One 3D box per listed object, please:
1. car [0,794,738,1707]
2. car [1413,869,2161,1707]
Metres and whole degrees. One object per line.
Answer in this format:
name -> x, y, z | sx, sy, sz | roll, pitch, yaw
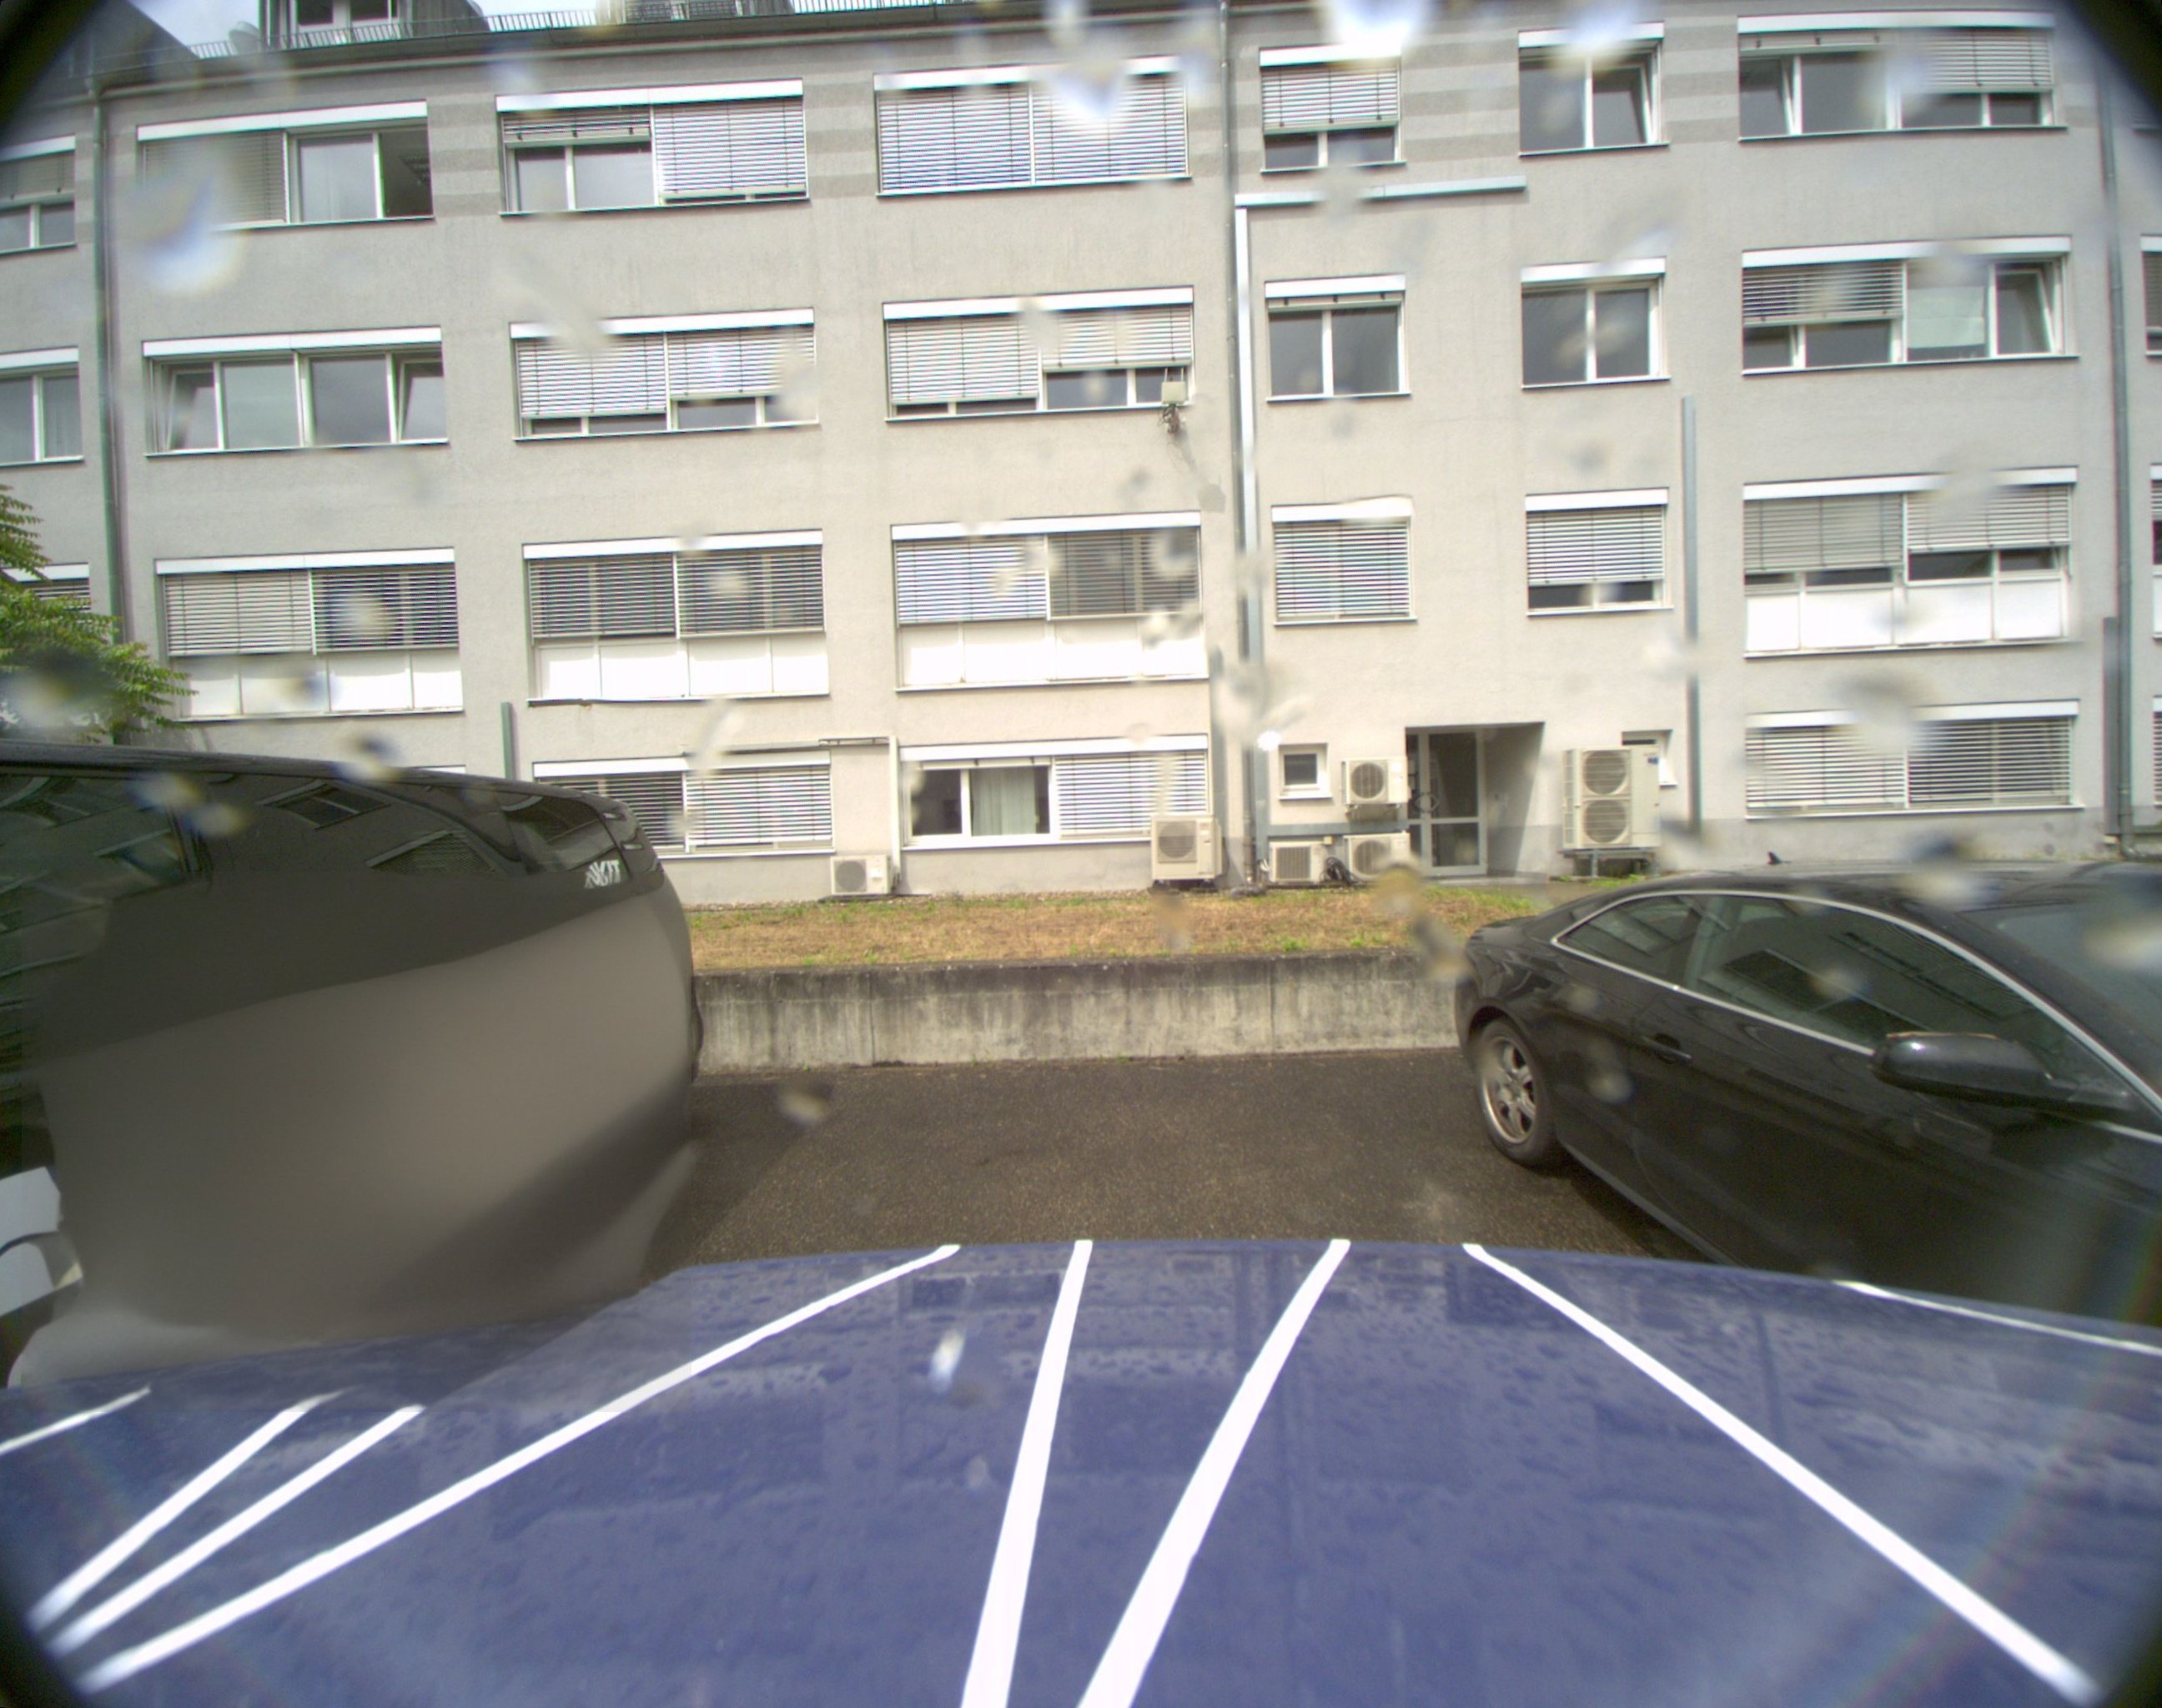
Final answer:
car -> -3.027, 0.835, 1.966 | 1.969, 1.854, 4.746 | -2, 2, 1
car -> 2.636, 0.865, 1.880 | 1.761, 1.344, 4.528 | -3, 2, 2
